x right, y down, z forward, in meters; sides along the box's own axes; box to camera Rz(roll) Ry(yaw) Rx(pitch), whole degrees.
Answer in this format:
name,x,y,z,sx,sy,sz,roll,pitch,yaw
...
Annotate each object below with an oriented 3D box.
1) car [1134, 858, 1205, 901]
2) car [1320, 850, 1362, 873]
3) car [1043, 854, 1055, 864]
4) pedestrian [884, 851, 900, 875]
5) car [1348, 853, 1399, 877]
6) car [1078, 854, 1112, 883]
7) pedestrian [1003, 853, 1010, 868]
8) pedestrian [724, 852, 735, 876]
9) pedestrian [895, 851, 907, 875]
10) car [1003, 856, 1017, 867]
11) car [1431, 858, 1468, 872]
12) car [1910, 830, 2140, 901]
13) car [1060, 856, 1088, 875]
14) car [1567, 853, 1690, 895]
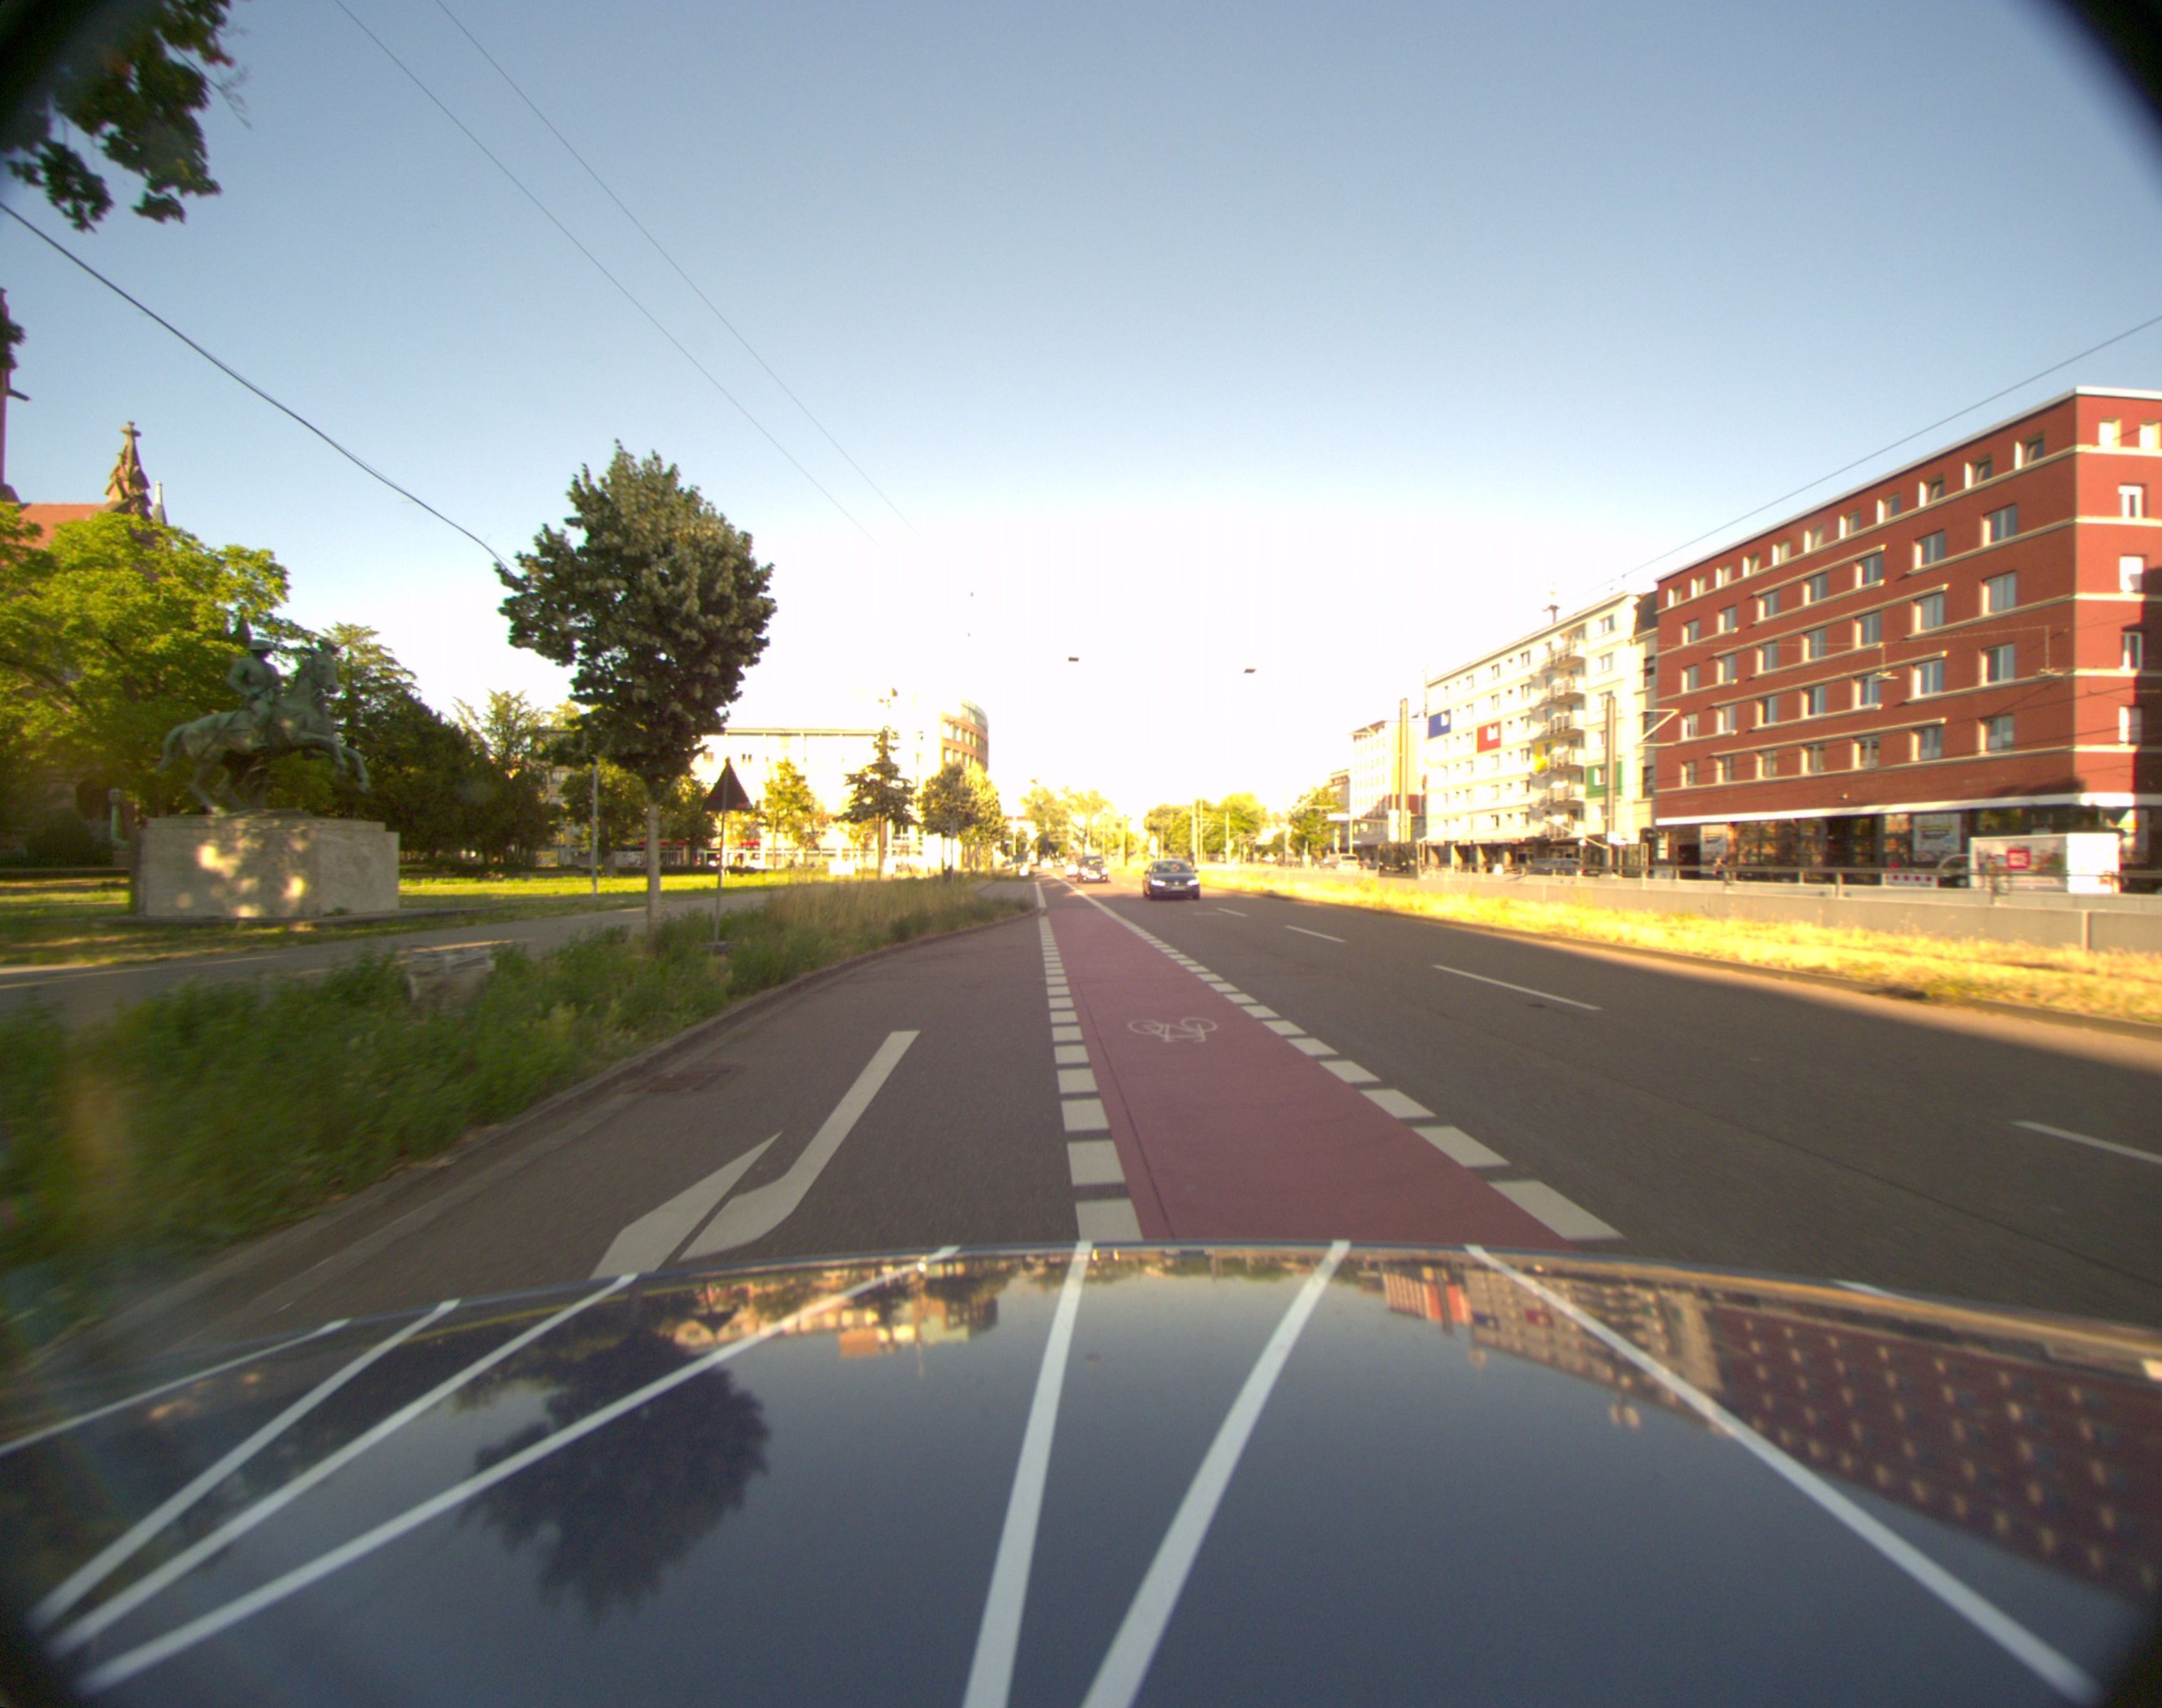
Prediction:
name,x,y,z,sx,sy,sz,roll,pitch,yaw
car,3.179,0.895,28.195,1.770,1.418,4.243,-1,0,-5
car,23.648,0.631,69.305,1.999,2.002,4.773,0,0,-4
car,-5.220,0.762,123.251,1.770,1.464,4.012,-2,0,-4
pedestrian,-13.097,0.633,52.713,0.740,1.640,0.916,3,0,1
car,23.141,0.832,60.313,1.999,1.786,4.894,0,0,-1
car,0.821,0.842,47.052,1.770,1.722,4.146,0,0,-4
pedestrian,-8.206,0.694,83.418,0.651,1.714,0.715,0,0,-1
pedestrian,-25.600,0.728,55.295,0.644,1.729,0.595,0,0,-36
pedestrian,-12.806,0.629,54.109,0.599,1.679,0.782,2,0,1
car,-10.208,1.082,109.460,1.770,1.464,4.012,-2,0,-4
car,49.043,1.470,101.128,3.998,1.770,1.741,-2,1,-3
car,30.977,0.352,25.214,1.957,2.121,4.573,0,0,1
car,-0.621,0.986,65.371,1.835,1.528,4.275,-2,0,-8
car,24.940,0.859,34.875,1.999,1.808,4.978,0,0,-1
